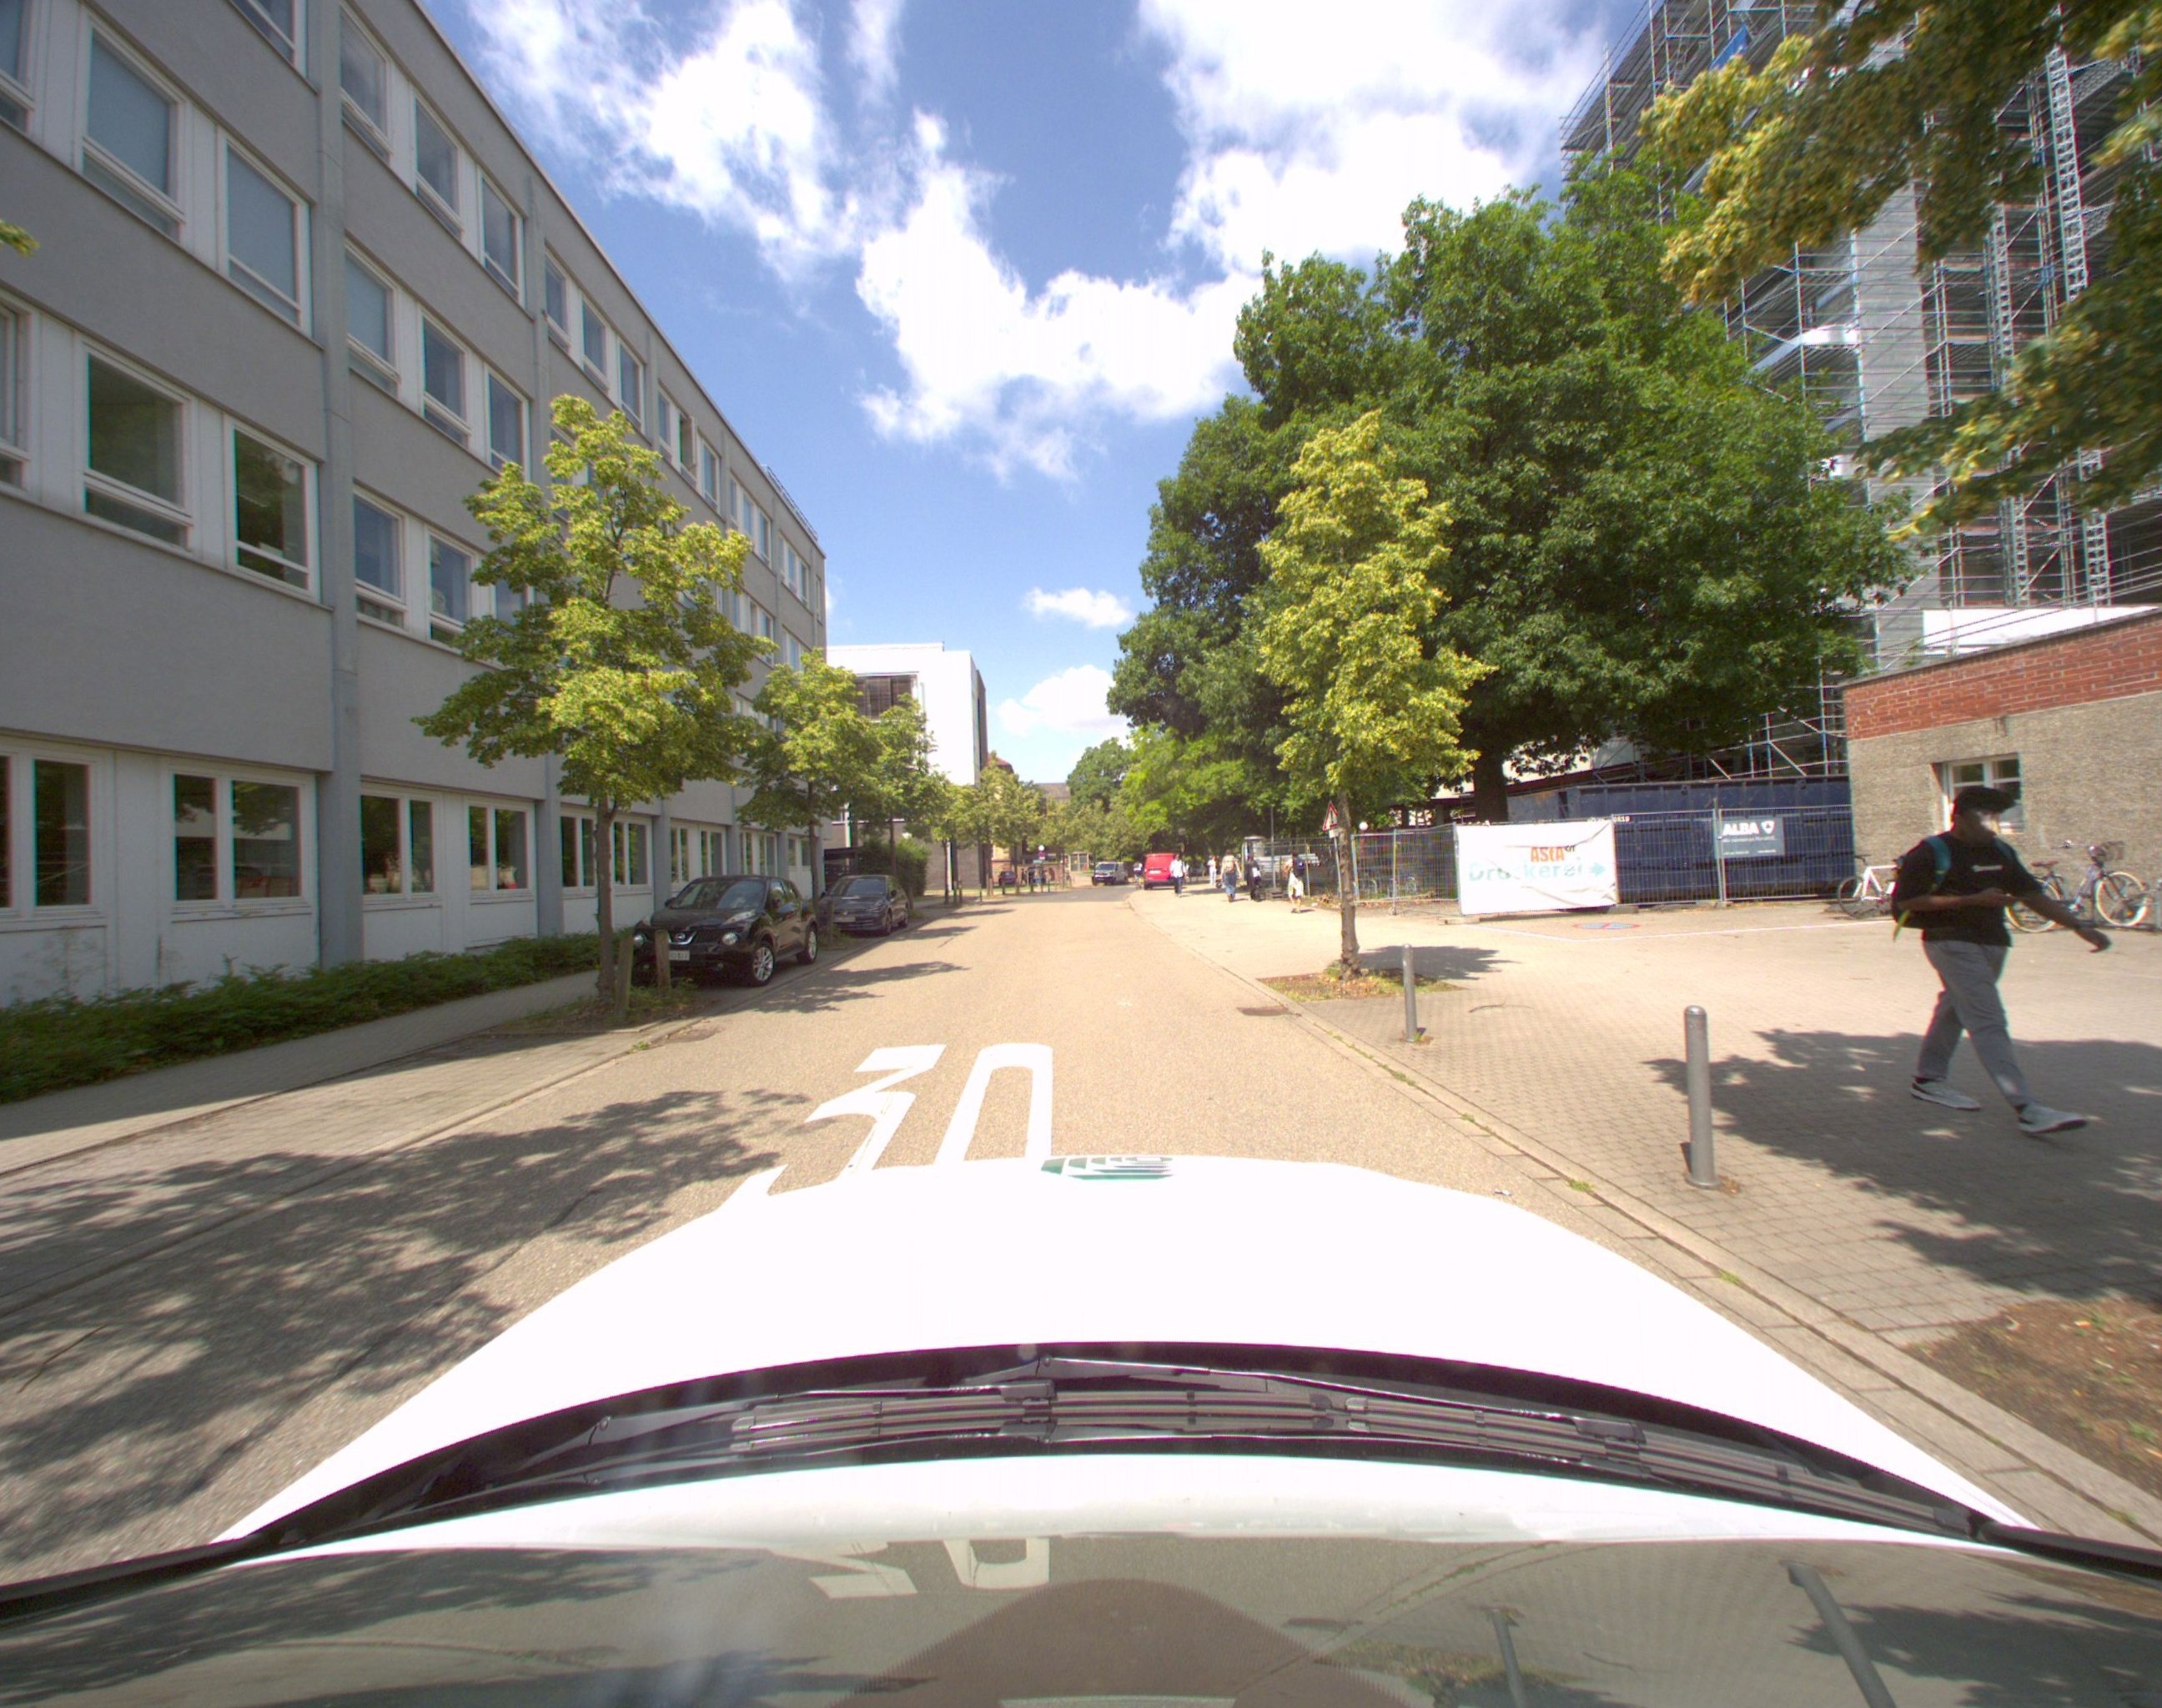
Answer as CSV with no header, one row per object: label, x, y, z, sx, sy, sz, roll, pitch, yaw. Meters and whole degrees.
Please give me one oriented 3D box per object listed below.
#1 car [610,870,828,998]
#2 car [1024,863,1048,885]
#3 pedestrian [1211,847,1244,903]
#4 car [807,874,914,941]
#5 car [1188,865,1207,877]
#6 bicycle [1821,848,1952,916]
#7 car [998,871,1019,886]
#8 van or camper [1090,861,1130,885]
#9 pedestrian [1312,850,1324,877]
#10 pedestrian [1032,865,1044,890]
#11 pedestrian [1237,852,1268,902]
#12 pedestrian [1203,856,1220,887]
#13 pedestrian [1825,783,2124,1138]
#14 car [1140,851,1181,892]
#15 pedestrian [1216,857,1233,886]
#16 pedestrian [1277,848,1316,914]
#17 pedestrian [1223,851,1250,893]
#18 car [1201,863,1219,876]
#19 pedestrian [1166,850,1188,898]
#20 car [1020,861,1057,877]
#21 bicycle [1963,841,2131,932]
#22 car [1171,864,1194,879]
car,-5.293,1.069,12.534,1.693,1.564,4.062,-2,-1,-4
car,-4.256,1.908,76.729,2.171,1.926,5.178,-2,-1,-4
pedestrian,4.796,0.680,26.691,0.847,1.764,0.715,-3,-1,-1
car,-5.443,1.260,20.643,1.774,1.461,4.253,-1,-1,-4
car,14.456,2.119,101.130,1.602,1.388,4.019,-3,-1,19
bicycle,12.958,0.442,13.122,1.667,1.003,0.447,-2,-1,-2
car,-6.816,2.296,76.572,1.813,1.324,3.763,-2,-1,-3
van or camper,2.494,1.605,68.772,1.938,1.923,5.445,-1,-1,18
pedestrian,16.055,0.659,55.183,0.540,1.837,0.762,-2,-2,4
pedestrian,-3.097,1.699,58.498,0.580,1.764,0.913,-2,-1,8
pedestrian,5.595,0.747,26.612,0.667,1.600,0.984,-3,-1,-4
pedestrian,7.918,1.057,49.390,0.727,1.822,0.623,-1,-2,-38
pedestrian,4.702,0.519,4.354,0.639,1.697,0.792,-2,-1,-1
car,4.175,0.881,42.264,1.838,1.891,4.901,-3,-1,8
pedestrian,8.558,1.048,48.600,0.749,1.710,0.557,-1,-2,-38
pedestrian,5.616,0.695,21.284,0.648,1.666,0.902,-3,-1,-6
pedestrian,6.097,0.701,31.945,0.717,1.632,0.705,-1,-2,-28
car,17.353,2.035,109.366,1.602,1.679,4.019,-3,-1,19
pedestrian,3.658,0.752,31.008,0.692,1.781,0.787,-3,-1,2
car,-5.382,1.865,102.837,4.170,1.823,1.987,-2,-1,-19
bicycle,12.737,0.425,10.758,1.697,1.109,0.447,-2,-1,-2
car,11.702,2.000,93.962,1.745,1.522,4.131,-3,-1,19
